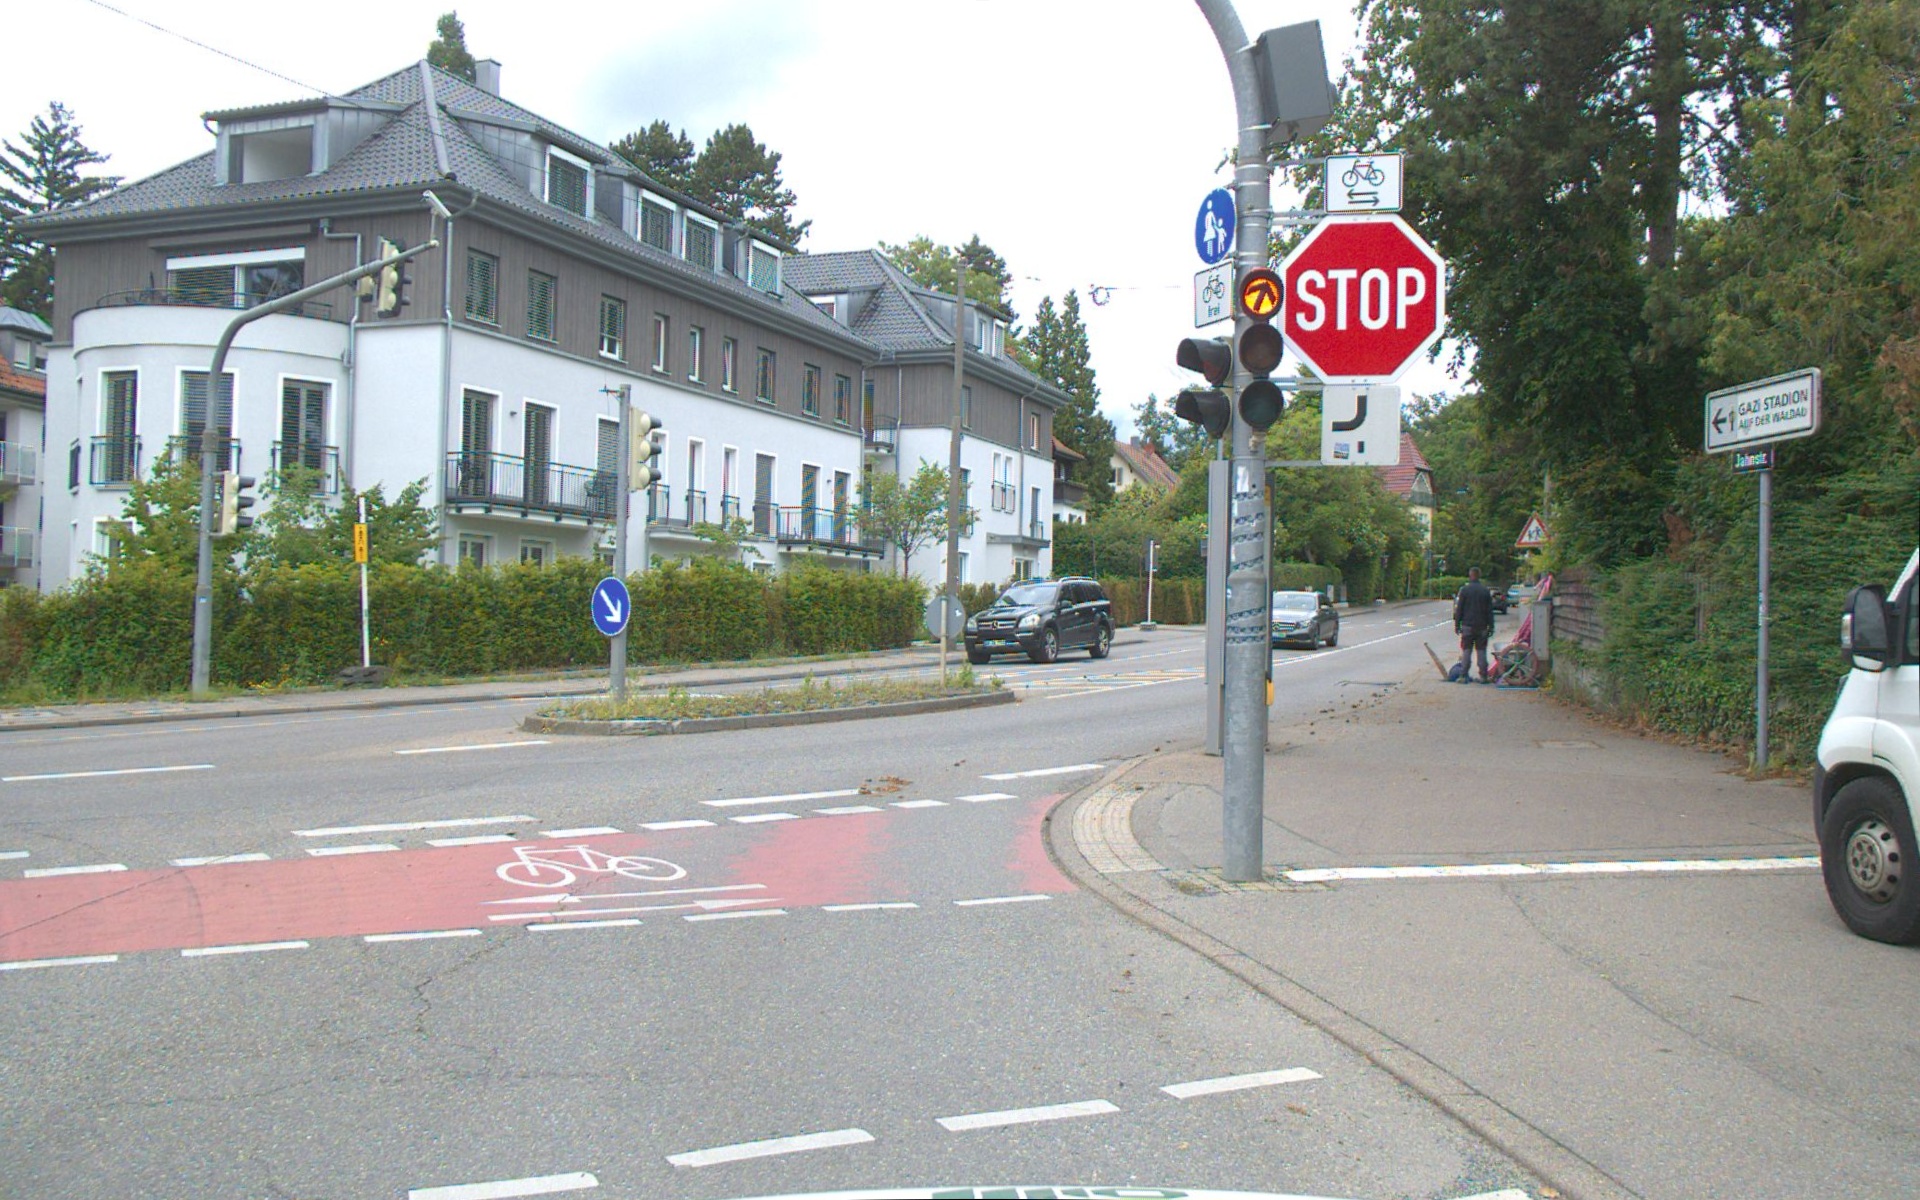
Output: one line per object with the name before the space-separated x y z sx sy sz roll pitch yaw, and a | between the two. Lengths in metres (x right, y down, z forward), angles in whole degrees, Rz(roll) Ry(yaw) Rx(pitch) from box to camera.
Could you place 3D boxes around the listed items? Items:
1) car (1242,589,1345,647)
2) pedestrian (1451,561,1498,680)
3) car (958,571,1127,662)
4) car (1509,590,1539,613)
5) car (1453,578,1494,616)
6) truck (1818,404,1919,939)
car | 8.987 0.432 44.279 1.899 1.428 4.742 1 1 22
pedestrian | 8.565 0.336 27.548 0.584 1.940 0.558 1 0 0
car | 1.948 0.365 37.185 1.875 1.913 5.136 -1 -1 27
car | 38.062 0.087 111.492 1.659 1.455 3.747 -1 0 23
car | 25.256 -0.149 81.239 1.770 1.784 4.488 -1 0 19
truck | 5.139 0.319 5.033 2.162 2.283 5.724 1 0 1
